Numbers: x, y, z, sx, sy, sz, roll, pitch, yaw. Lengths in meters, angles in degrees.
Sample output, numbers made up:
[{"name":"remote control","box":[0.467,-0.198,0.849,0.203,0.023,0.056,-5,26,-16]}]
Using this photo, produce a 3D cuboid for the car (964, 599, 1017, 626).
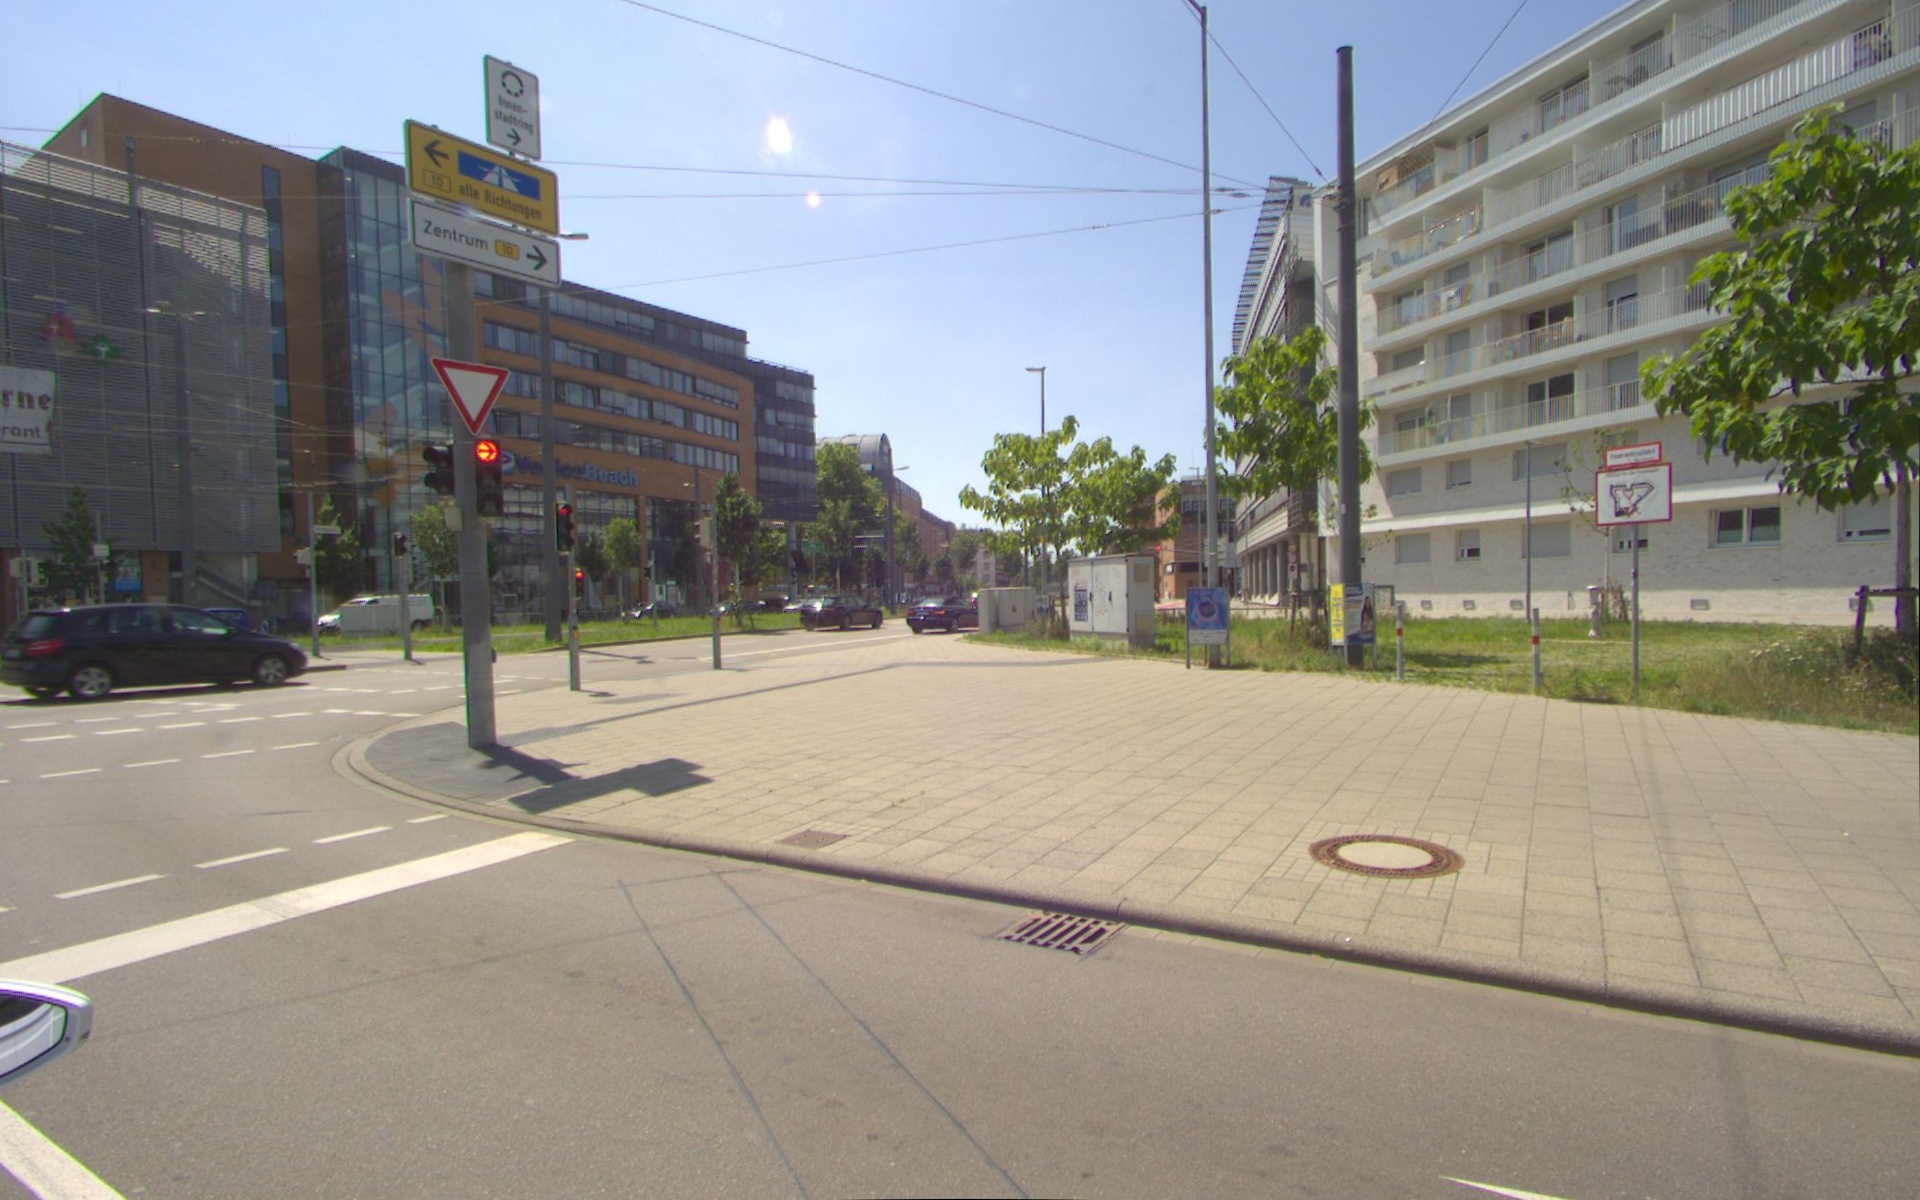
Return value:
[{"name":"car","box":[1.823,0.734,58.880,1.811,1.528,4.128,0,0,22]}]

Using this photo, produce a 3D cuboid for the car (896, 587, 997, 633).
[{"name":"car","box":[-0.462,0.348,38.953,1.969,1.598,4.543,0,2,28]}]

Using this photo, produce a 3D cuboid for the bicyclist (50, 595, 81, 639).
[{"name":"bicyclist","box":[-41.960,0.778,46.976,0.738,2.040,0.909,1,1,35]}]

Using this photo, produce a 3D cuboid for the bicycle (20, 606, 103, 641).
[{"name":"bicycle","box":[-42.033,1.064,46.890,0.695,1.578,2.840,1,0,35]}]

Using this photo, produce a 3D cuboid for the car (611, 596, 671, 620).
[{"name":"car","box":[-21.408,0.551,67.428,1.656,1.550,3.989,0,0,23]}]

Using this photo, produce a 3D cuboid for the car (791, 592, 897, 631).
[{"name":"car","box":[-4.677,0.450,41.153,1.860,1.479,4.758,0,0,30]}]

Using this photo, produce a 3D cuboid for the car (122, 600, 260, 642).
[{"name":"car","box":[-30.605,0.797,39.973,1.853,1.559,3.980,0,0,31]}]

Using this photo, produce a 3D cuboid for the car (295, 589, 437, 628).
[{"name":"car","box":[-27.338,0.400,46.344,1.969,1.690,5.459,0,0,28]}]

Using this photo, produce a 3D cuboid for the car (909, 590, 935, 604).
[{"name":"car","box":[-4.433,-0.331,116.998,1.794,1.689,3.823,0,0,20]}]

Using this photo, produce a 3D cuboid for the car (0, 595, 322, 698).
[{"name":"car","box":[-14.047,0.716,17.654,1.969,1.574,4.315,0,0,29]}]

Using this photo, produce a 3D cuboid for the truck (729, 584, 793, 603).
[{"name":"truck","box":[-29.102,-0.947,146.520,9.067,2.846,1.998,0,0,13]}]

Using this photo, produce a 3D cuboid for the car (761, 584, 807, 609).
[{"name":"car","box":[-14.650,-0.254,83.422,1.966,2.040,3.989,0,0,23]}]

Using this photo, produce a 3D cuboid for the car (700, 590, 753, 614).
[{"name":"car","box":[-16.506,0.140,70.904,1.605,1.595,3.818,0,0,28]}]
